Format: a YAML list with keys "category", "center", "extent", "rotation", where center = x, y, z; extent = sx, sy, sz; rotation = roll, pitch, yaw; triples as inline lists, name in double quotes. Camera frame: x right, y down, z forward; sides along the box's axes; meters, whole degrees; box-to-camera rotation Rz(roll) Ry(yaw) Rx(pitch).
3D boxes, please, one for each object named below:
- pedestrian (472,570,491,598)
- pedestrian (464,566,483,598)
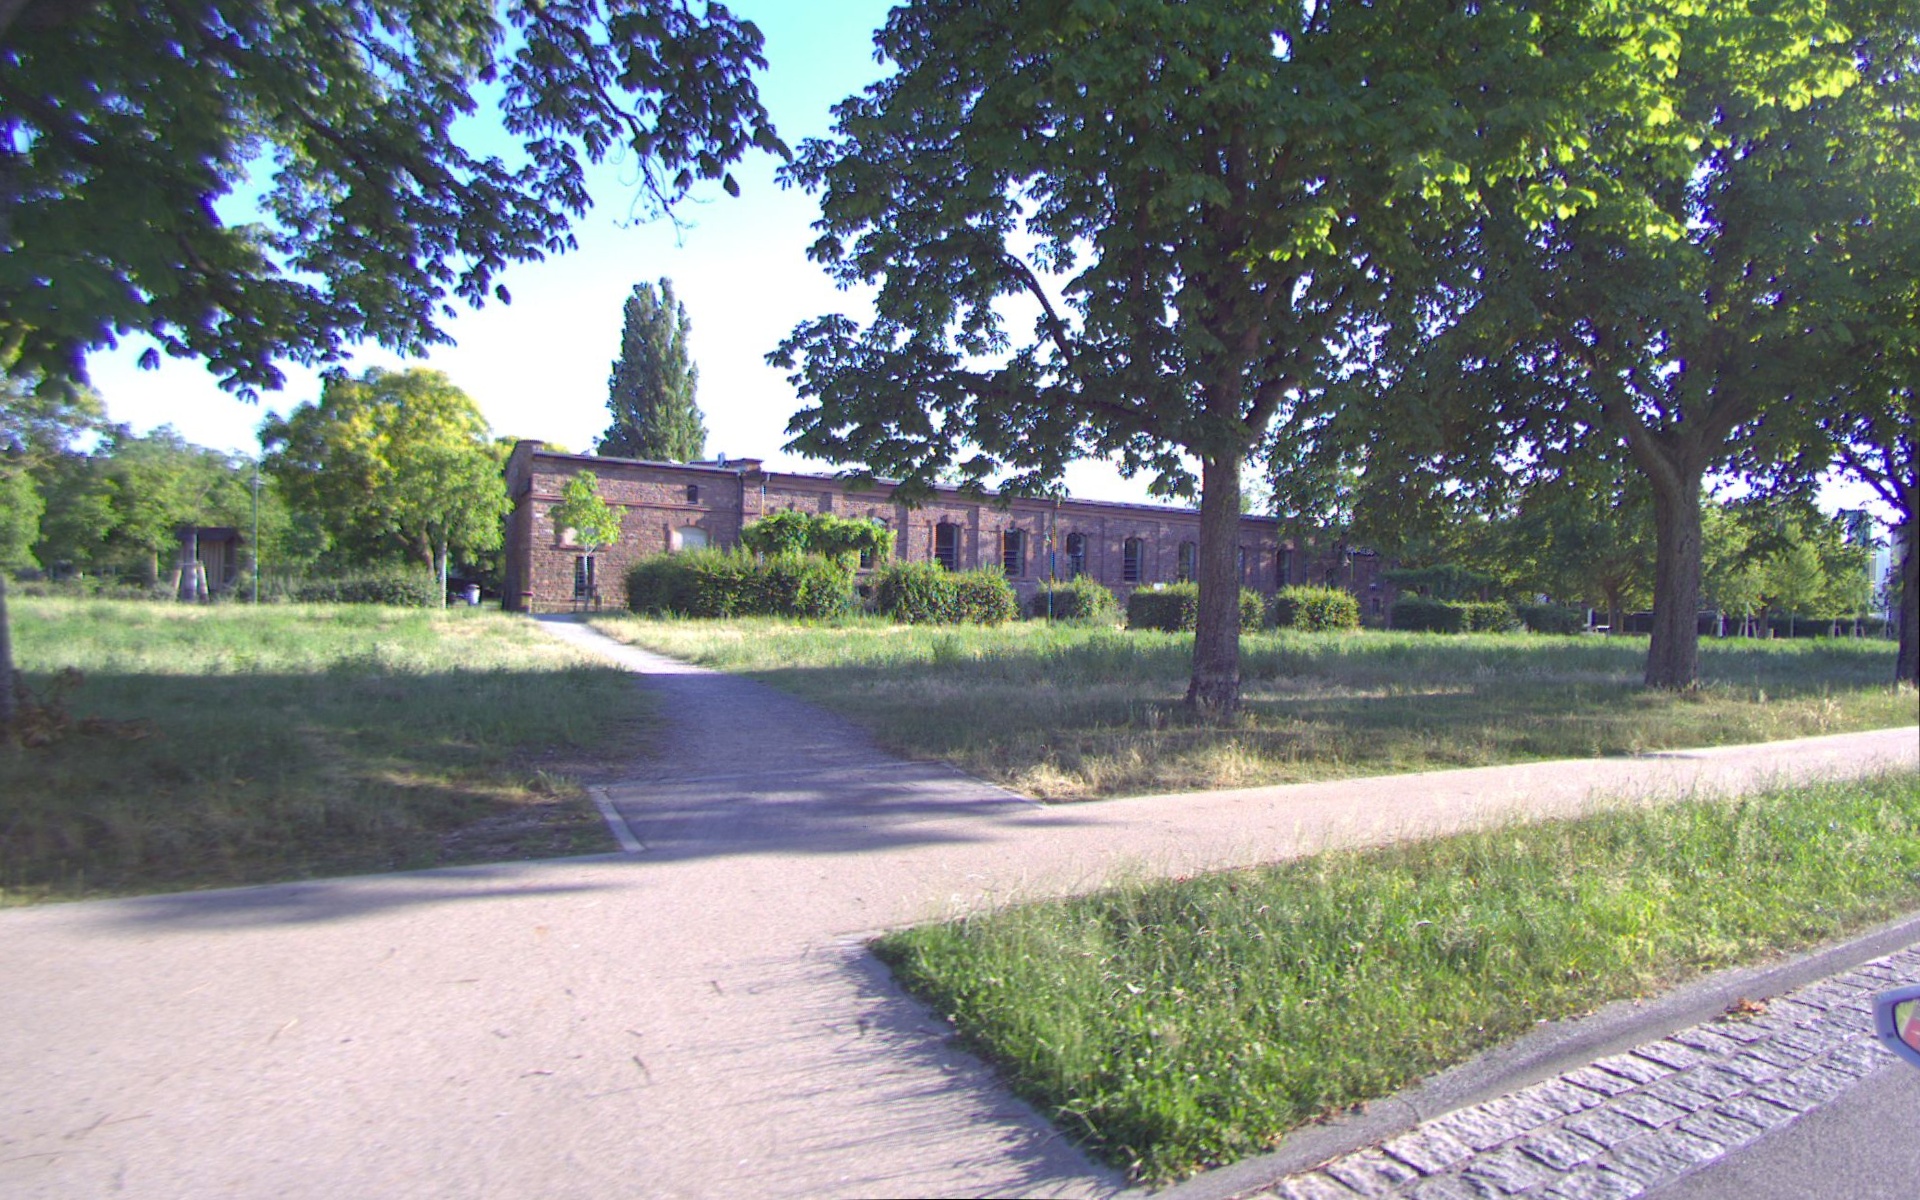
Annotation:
- category: "pedestrian"
  center: [-27.489, -0.937, 57.727]
  extent: [0.824, 1.532, 0.781]
  rotation: [3, 1, -20]
- category: "pedestrian"
  center: [-27.468, -1.026, 56.752]
  extent: [0.824, 1.735, 0.781]
  rotation: [3, 1, -20]
